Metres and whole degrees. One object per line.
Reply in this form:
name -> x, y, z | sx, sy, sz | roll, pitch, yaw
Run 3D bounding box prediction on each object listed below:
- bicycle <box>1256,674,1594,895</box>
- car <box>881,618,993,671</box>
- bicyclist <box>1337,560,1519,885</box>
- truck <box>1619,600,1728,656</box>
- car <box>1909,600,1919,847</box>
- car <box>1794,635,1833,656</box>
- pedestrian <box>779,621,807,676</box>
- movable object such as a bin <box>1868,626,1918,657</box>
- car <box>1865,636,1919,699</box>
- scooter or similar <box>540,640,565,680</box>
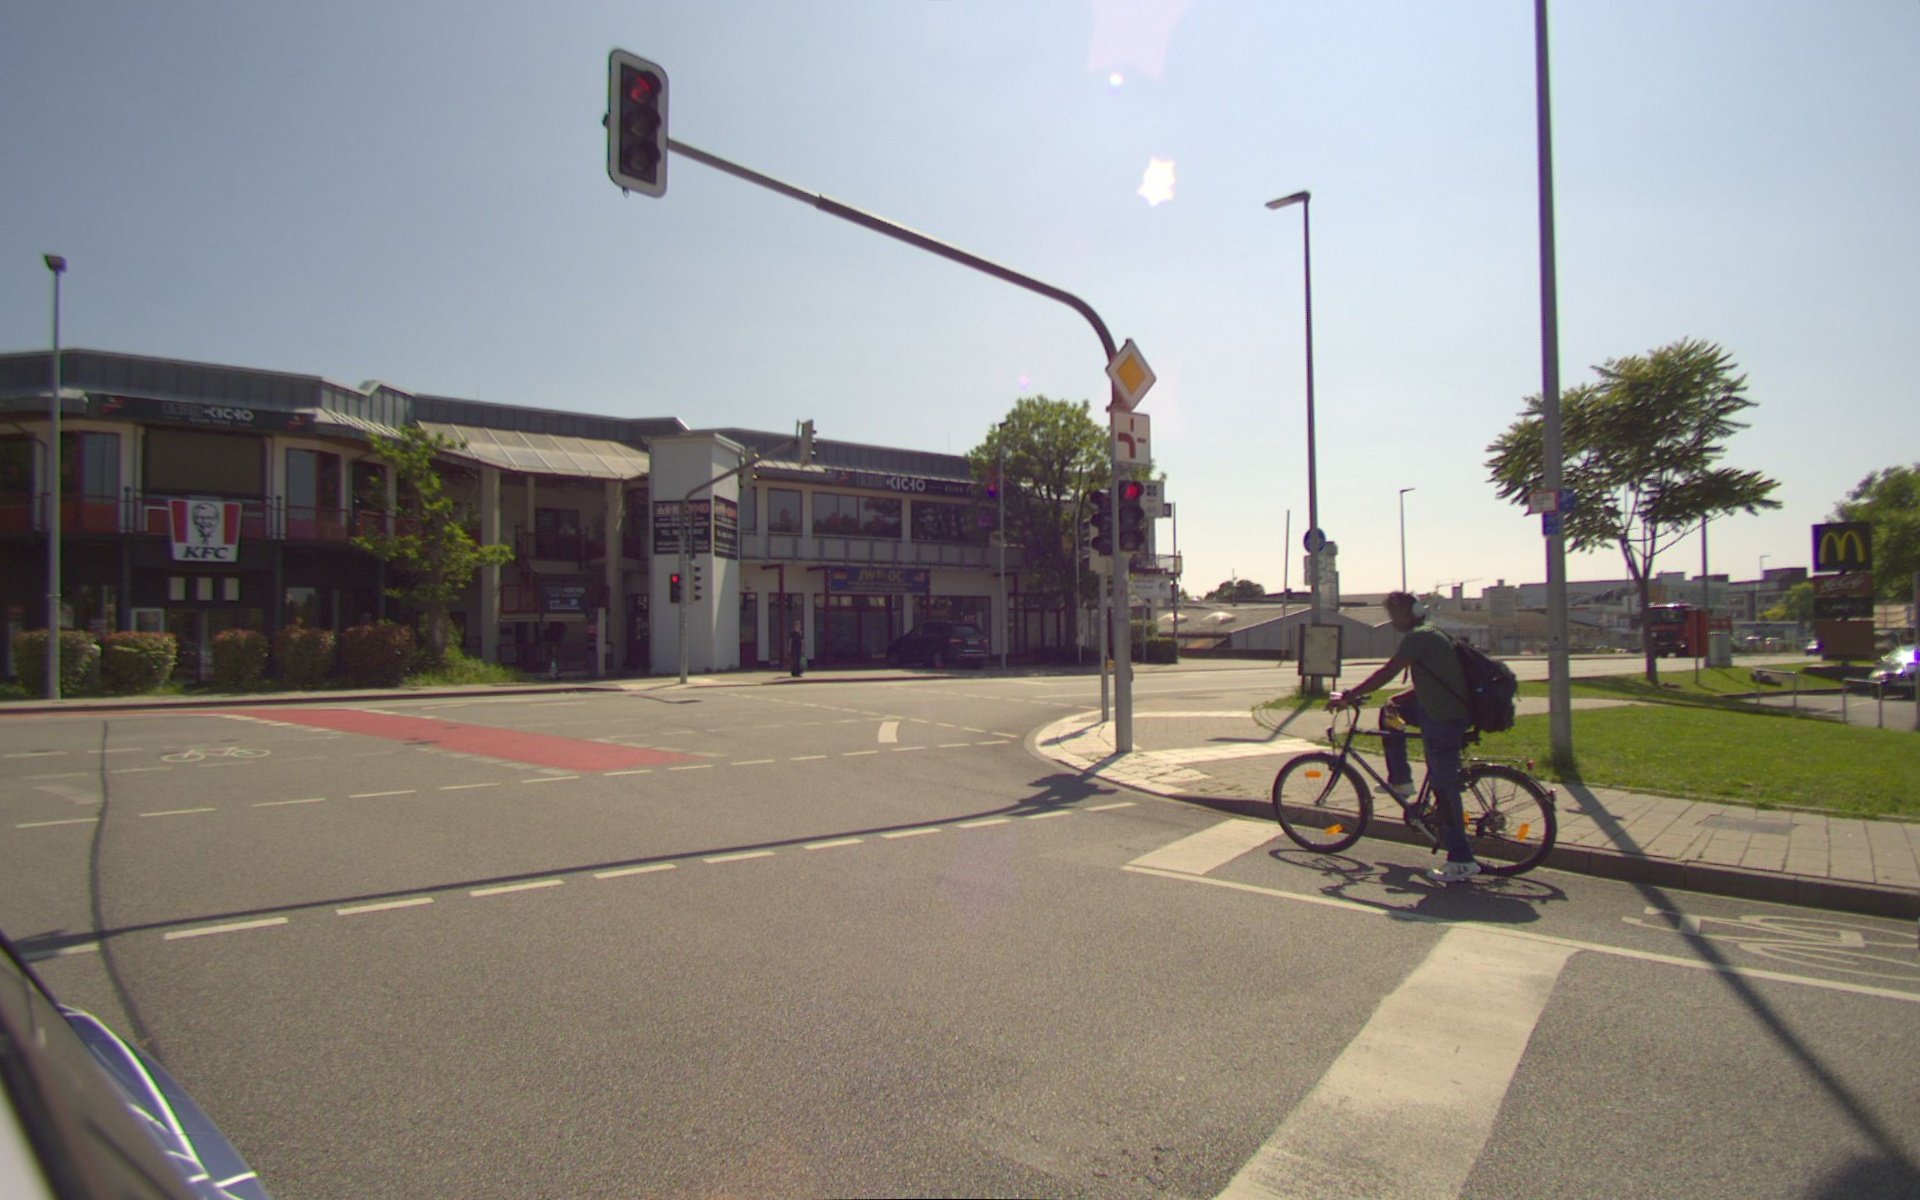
bicycle -> 2.801, 1.039, 6.220 | 1.754, 1.113, 0.690 | -2, -3, 41
car -> -0.924, 1.648, 37.965 | 1.779, 1.870, 4.668 | 1, -3, -38
bicyclist -> 2.853, 0.697, 6.173 | 0.808, 1.802, 0.703 | -2, -3, 41
truck -> 46.712, 1.812, 66.151 | 9.021, 3.412, 3.321 | 1, -3, -39
car -> 4.923, 0.673, 1.651 | 4.716, 1.508, 1.762 | -2, -3, 38
car -> 70.658, 3.733, 83.788 | 3.938, 1.674, 1.838 | 1, -3, -41
pedestrian -> -5.097, 1.468, 30.880 | 0.721, 1.658, 0.844 | 0, -2, -18
movable object such as a bin -> 43.532, 1.920, 47.216 | 1.432, 1.422, 1.472 | 1, -3, -38
car -> 25.626, 1.719, 26.419 | 4.117, 1.564, 1.871 | 1, -3, -32
scooter or similar -> -11.870, 1.738, 29.445 | 0.492, 1.132, 1.509 | 1, -2, -29
